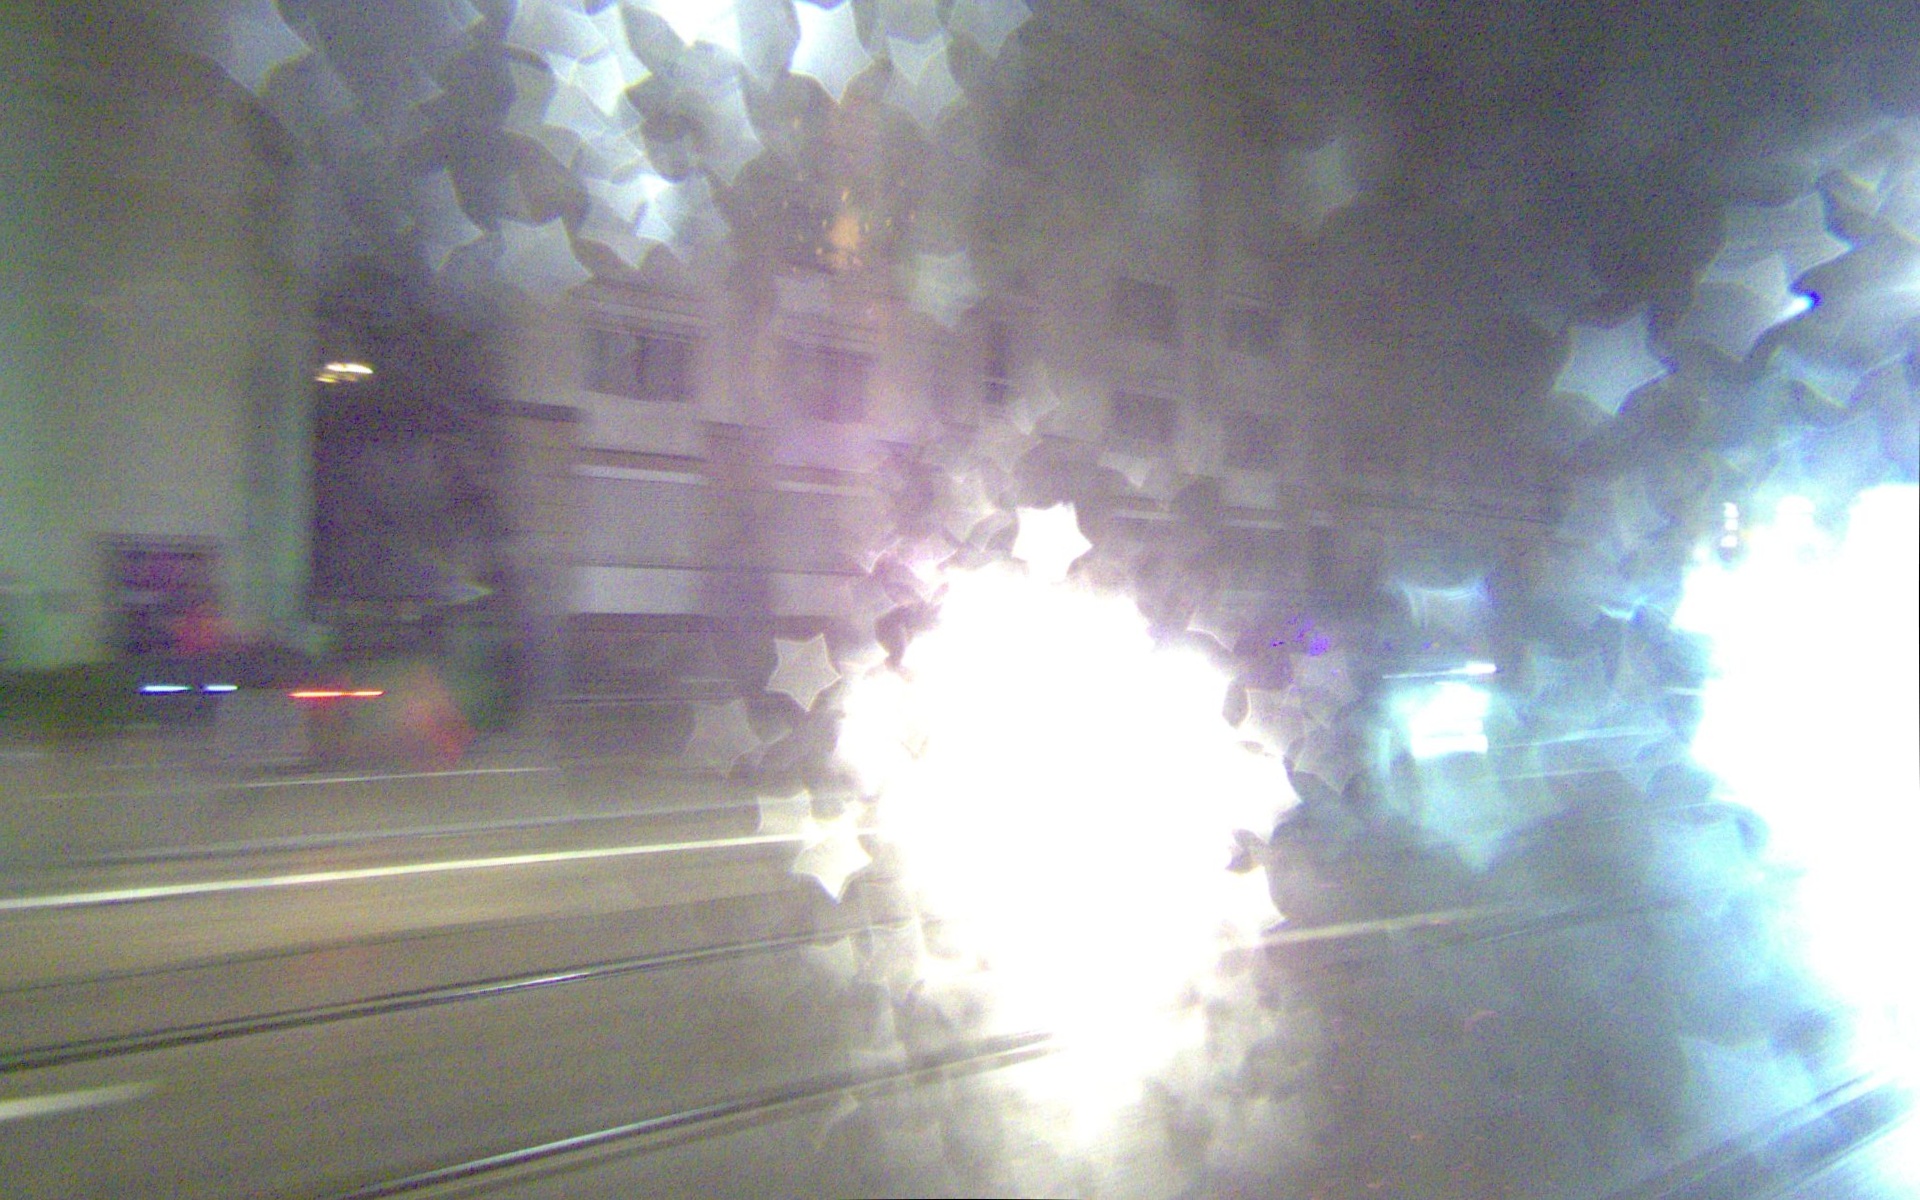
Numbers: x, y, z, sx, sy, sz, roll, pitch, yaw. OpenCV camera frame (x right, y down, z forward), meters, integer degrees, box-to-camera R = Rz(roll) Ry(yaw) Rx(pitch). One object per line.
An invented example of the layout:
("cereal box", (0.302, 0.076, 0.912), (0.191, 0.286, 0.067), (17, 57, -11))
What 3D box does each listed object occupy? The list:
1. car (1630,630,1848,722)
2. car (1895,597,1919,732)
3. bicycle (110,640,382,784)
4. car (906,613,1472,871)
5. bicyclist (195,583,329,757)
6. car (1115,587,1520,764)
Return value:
("car", (14.271, 1.321, 18.354), (4.094, 1.425, 1.756), (2, 1, -31))
("car", (15.884, 0.916, 14.646), (4.580, 1.904, 1.918), (1, -2, -29))
("bicycle", (-6.344, 0.981, 9.057), (1.873, 1.157, 0.652), (2, 1, -26))
("car", (1.712, 0.851, 7.447), (3.850, 1.484, 1.786), (1, -1, -26))
("bicyclist", (-6.274, 0.609, 9.079), (0.857, 1.484, 0.652), (2, 1, -26))
("car", (4.722, 0.825, 13.034), (5.245, 1.850, 1.984), (0, 2, -30))
